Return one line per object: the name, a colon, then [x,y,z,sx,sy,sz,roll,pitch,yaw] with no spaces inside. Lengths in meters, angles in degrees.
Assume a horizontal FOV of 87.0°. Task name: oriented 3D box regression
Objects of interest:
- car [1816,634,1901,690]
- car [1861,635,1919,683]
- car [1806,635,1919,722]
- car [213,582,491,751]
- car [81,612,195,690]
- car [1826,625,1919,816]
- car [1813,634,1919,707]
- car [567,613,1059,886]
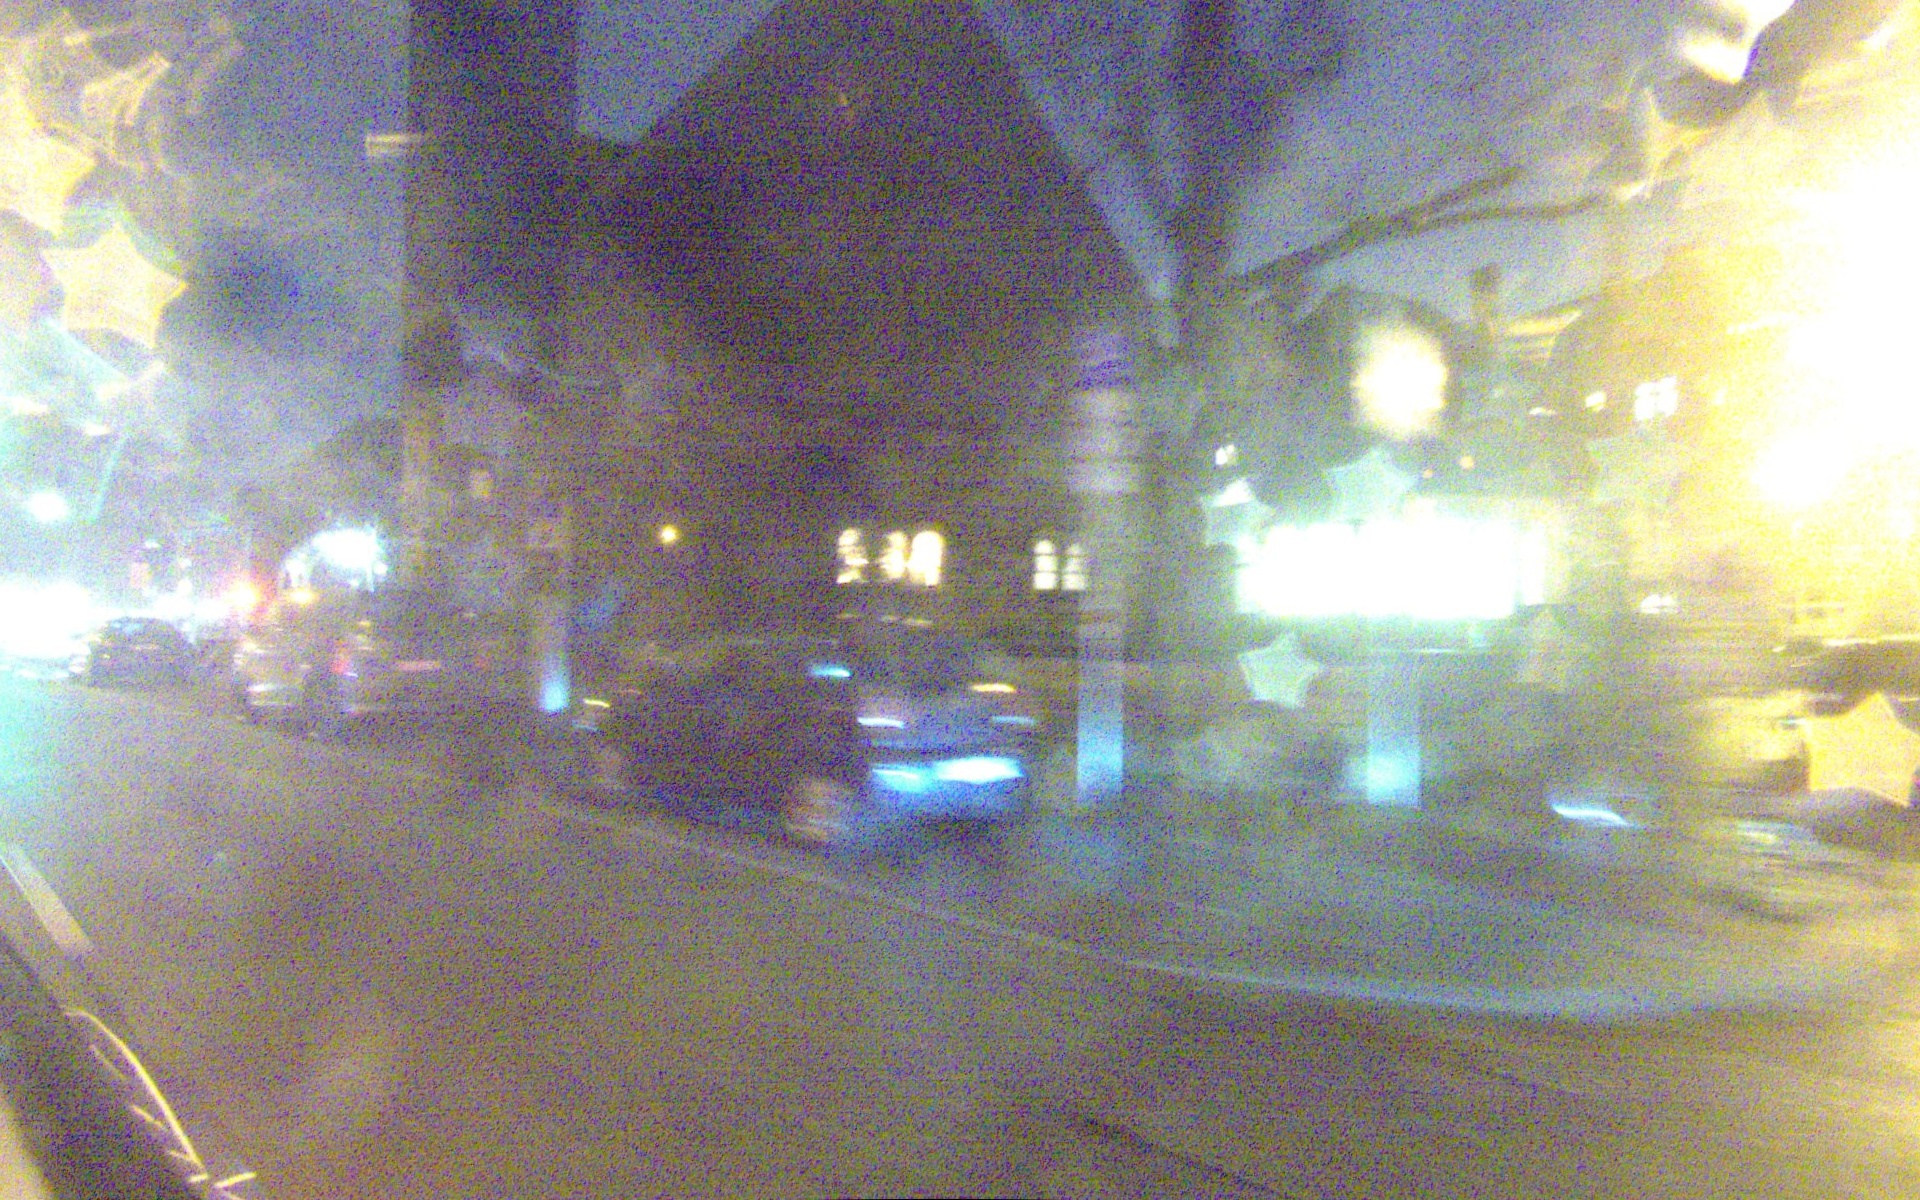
car: [28.999,1.959,32.757,1.853,1.620,3.947,-1,-1,39]
car: [35.194,2.132,36.701,1.802,1.683,4.079,0,-1,10]
car: [19.515,1.605,21.736,1.852,1.620,3.949,-1,-1,38]
car: [-8.220,0.804,13.467,4.826,1.860,1.846,-1,-3,43]
car: [-19.607,1.180,24.069,1.790,1.683,4.415,2,-3,-43]
car: [9.456,1.056,9.686,1.716,1.583,3.891,-1,-3,41]
car: [22.735,1.703,25.438,1.853,1.620,3.947,-1,-1,39]
car: [-1.195,0.848,7.244,3.561,1.453,1.530,-1,0,41]
